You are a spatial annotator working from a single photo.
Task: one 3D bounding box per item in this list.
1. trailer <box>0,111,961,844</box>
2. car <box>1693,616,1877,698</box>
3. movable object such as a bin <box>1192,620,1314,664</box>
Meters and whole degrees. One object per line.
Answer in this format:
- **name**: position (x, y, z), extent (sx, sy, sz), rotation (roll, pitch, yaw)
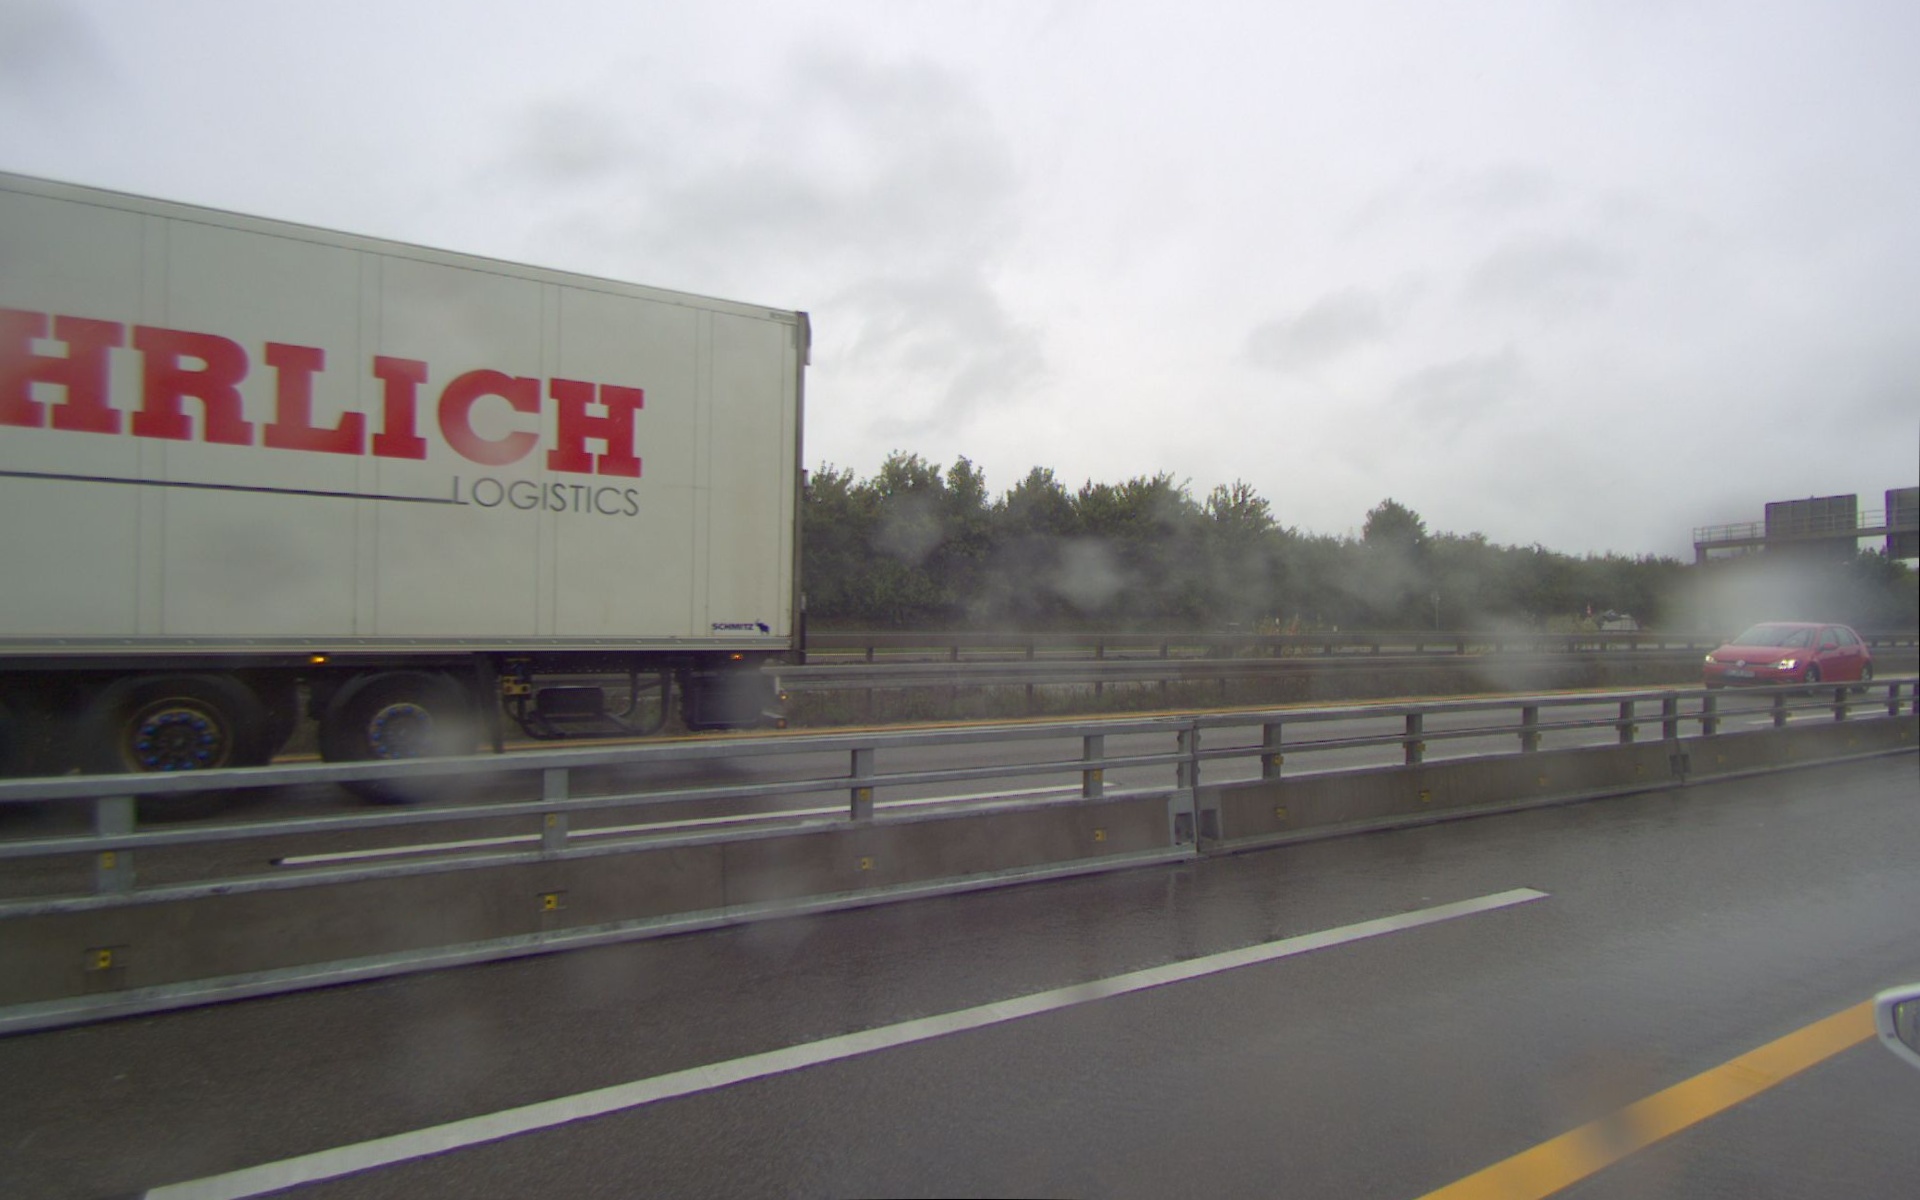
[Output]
- **trailer**: position (-6.227, -0.708, 7.306), extent (12.743, 4.343, 2.879), rotation (2, -1, -30)
- **car**: position (17.258, 1.163, 20.973), extent (4.168, 1.524, 1.600), rotation (2, 0, -30)
- **movable object such as a bin**: position (10.720, 1.540, 36.686), extent (3.953, 1.444, 2.116), rotation (2, 0, -30)
